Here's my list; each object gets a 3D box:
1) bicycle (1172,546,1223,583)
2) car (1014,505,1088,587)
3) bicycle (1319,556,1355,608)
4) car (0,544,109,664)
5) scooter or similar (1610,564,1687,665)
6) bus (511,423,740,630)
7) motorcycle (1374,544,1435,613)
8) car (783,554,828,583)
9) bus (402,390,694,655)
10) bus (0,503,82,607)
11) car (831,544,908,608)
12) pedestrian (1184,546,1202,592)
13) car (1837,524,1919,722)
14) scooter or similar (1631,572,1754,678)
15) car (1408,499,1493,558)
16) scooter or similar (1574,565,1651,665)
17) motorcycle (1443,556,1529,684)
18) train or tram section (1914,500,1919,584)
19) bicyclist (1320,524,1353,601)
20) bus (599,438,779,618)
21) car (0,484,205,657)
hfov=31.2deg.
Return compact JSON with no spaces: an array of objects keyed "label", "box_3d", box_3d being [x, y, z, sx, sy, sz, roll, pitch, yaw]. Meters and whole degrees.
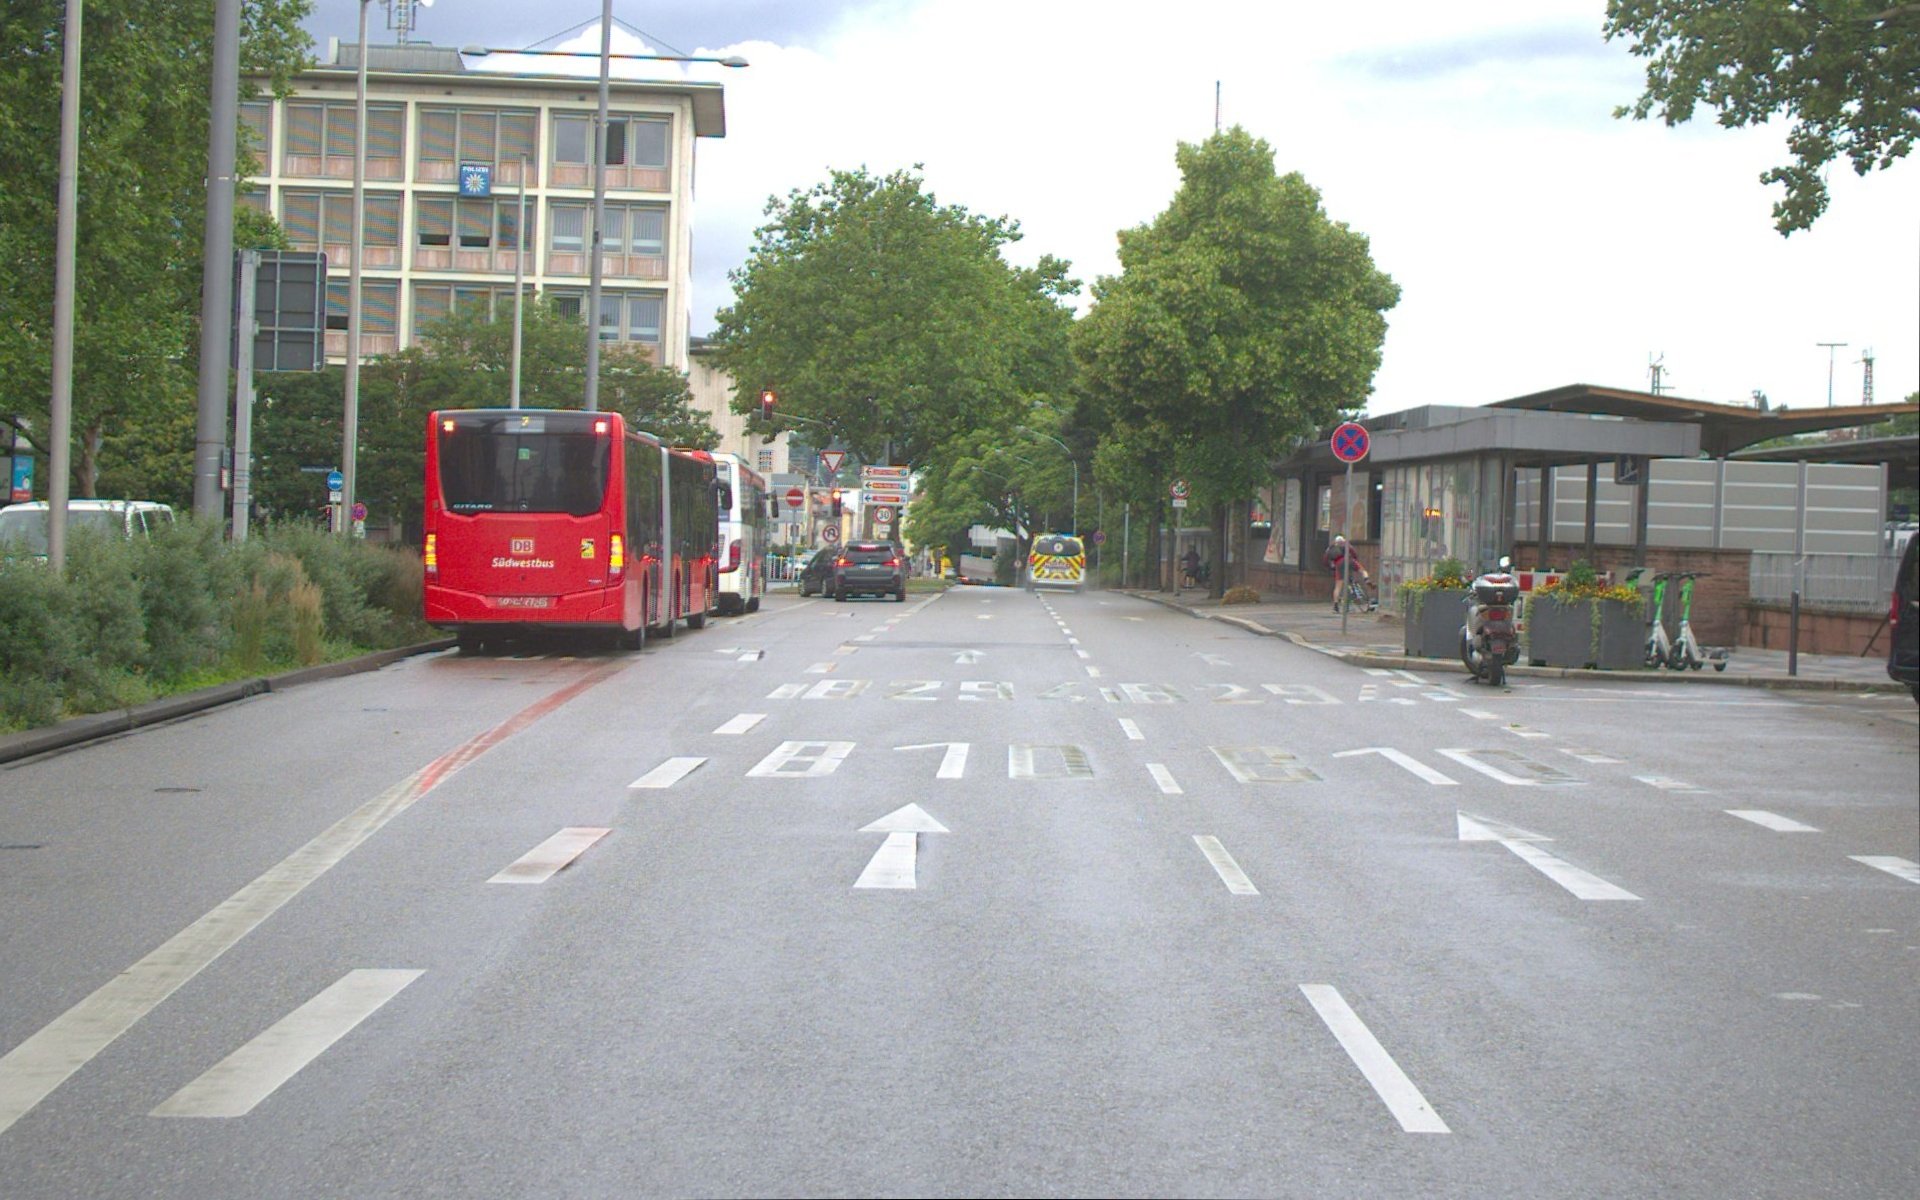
[{"label":"bicycle","box_3d":[8.117,-1.204,117.537,1.723,1.244,0.485,0,0,32]},{"label":"car","box_3d":[2.993,-1.796,113.872,2.264,2.647,4.000,0,1,-1]},{"label":"bicycle","box_3d":[7.532,-0.362,68.732,0.446,1.013,1.678,-2,1,-2]},{"label":"car","box_3d":[-13.195,0.016,47.705,1.790,1.573,4.741,0,1,-3]},{"label":"scooter or similar","box_3d":[8.098,0.174,40.432,0.413,1.151,1.261,4,1,32]},{"label":"bus","box_3d":[-5.378,-1.196,56.755,2.752,3.121,8.843,0,1,1]},{"label":"motorcycle","box_3d":[8.870,-0.446,68.701,0.791,1.343,2.457,1,1,-2]},{"label":"car","box_3d":[-7.241,-1.472,161.322,1.691,1.293,4.092,2,0,3]},{"label":"bus","box_3d":[-5.469,-1.039,47.373,2.809,3.234,9.914,1,1,0]},{"label":"bus","box_3d":[-32.693,-1.174,104.849,11.947,3.009,2.886,-2,0,22]},{"label":"car","box_3d":[-2.383,-0.641,91.080,1.964,1.634,4.359,1,1,-1]},{"label":"pedestrian","box_3d":[7.934,-1.050,117.125,0.457,1.563,0.392,0,0,33]},{"label":"car","box_3d":[11.080,0.214,33.546,4.684,1.868,2.109,0,1,-29]},{"label":"scooter or similar","box_3d":[8.692,0.283,40.852,1.065,1.151,1.667,3,1,1]},{"label":"car","box_3d":[15.887,-2.305,111.472,1.993,1.865,4.598,0,1,-1]},{"label":"scooter or similar","box_3d":[7.727,0.183,40.683,0.413,1.151,1.261,4,1,32]},{"label":"motorcycle","box_3d":[5.781,0.204,37.851,0.643,1.347,2.109,1,1,1]},{"label":"train or tram section","box_3d":[38.441,-2.211,129.137,2.654,3.271,8.764,0,1,-1]},{"label":"bicyclist","box_3d":[7.513,-0.753,68.685,0.533,1.533,0.694,-1,1,-2]},{"label":"bus","box_3d":[-5.561,-1.498,72.633,2.955,3.427,12.560,1,1,-1]},{"label":"car","box_3d":[-10.553,-0.386,41.939,1.920,1.967,4.856,0,1,-4]}]
